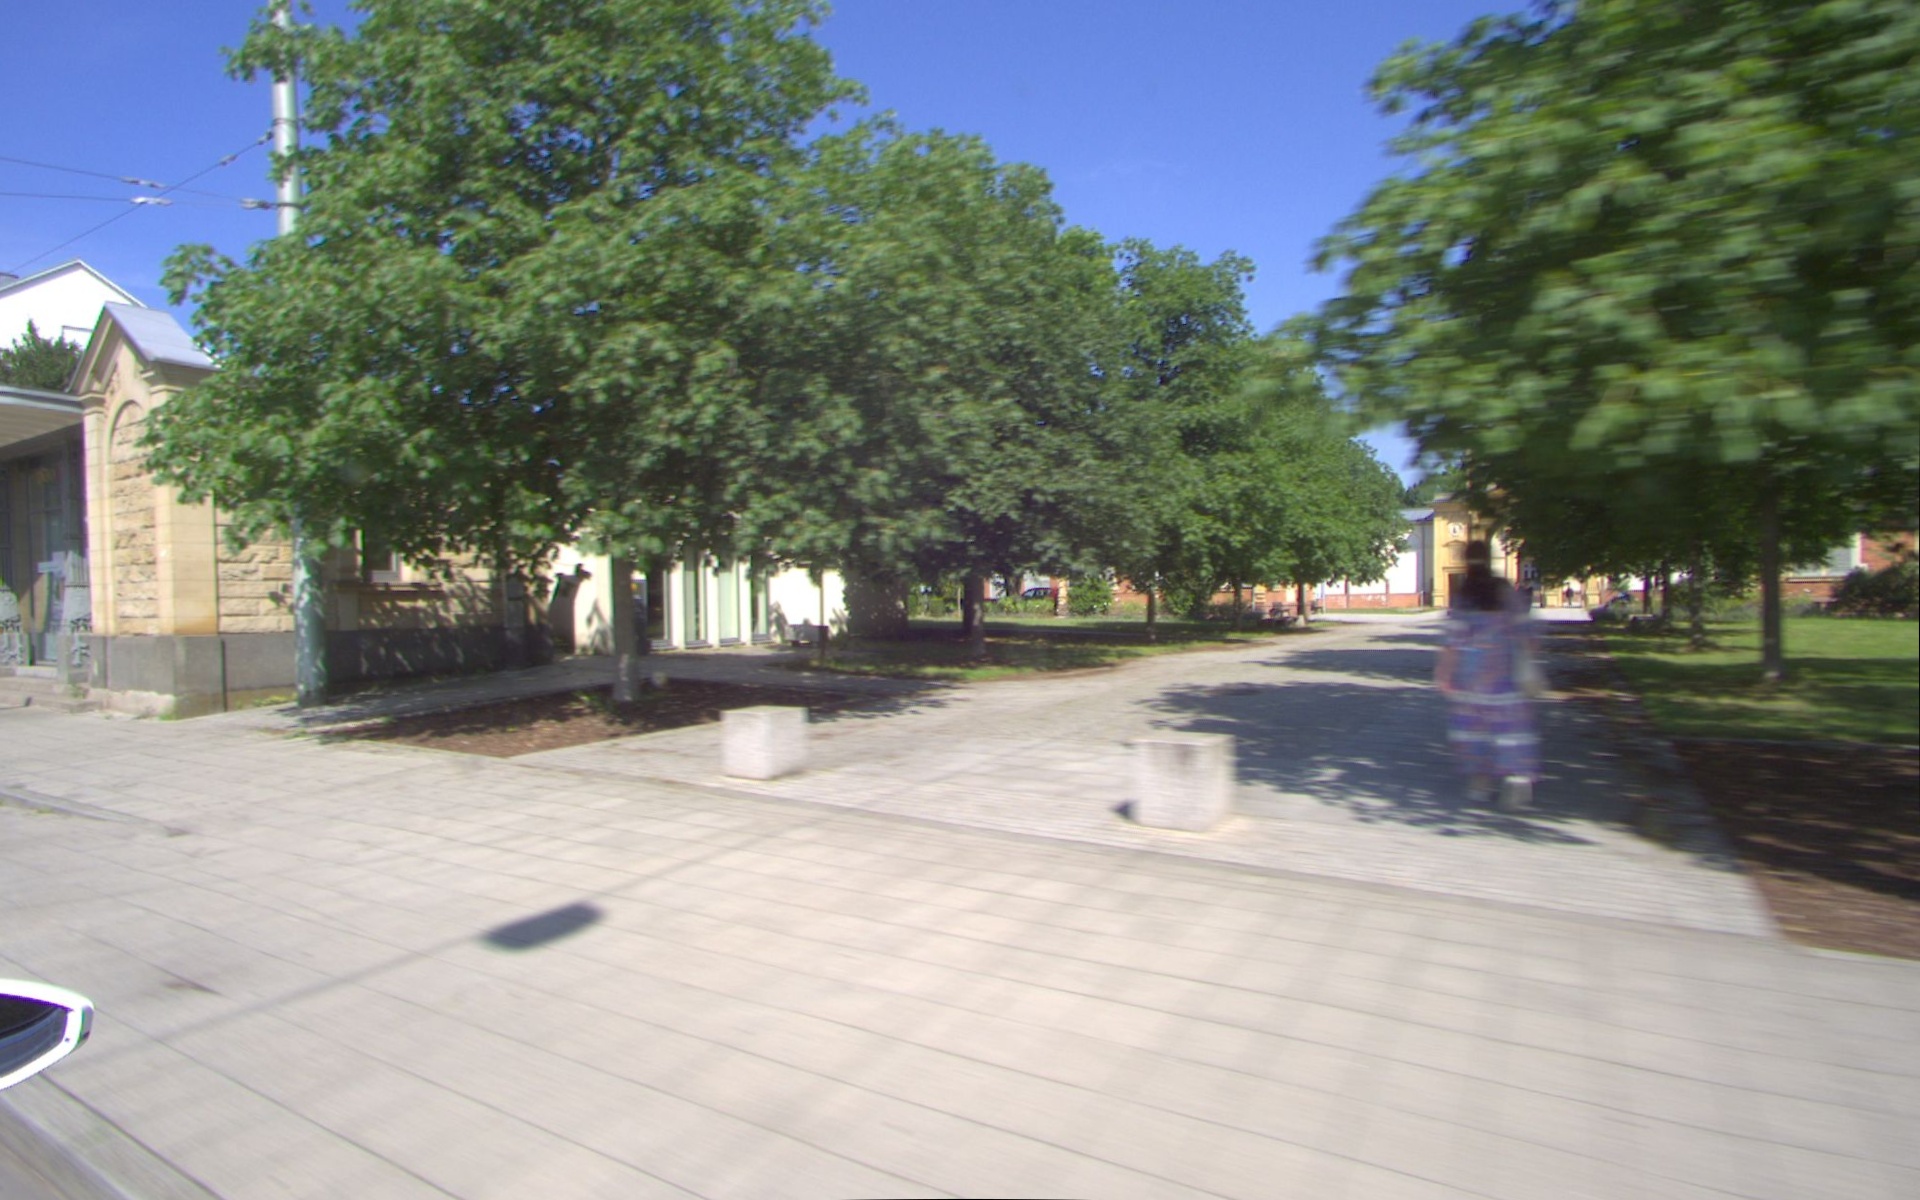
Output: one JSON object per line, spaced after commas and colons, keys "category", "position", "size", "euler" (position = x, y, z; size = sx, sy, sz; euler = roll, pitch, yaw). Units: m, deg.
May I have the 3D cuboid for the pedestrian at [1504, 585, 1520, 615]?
{"category": "pedestrian", "position": [30.442, -0.019, 55.233], "size": [0.734, 1.622, 0.619], "euler": [0, 1, 26]}

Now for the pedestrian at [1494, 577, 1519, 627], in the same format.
{"category": "pedestrian", "position": [17.916, 0.054, 32.809], "size": [0.679, 1.622, 0.863], "euler": [0, 1, 32]}

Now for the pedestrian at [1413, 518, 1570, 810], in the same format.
{"category": "pedestrian", "position": [3.271, 0.378, 6.217], "size": [0.639, 1.705, 0.707], "euler": [-1, 1, 6]}
